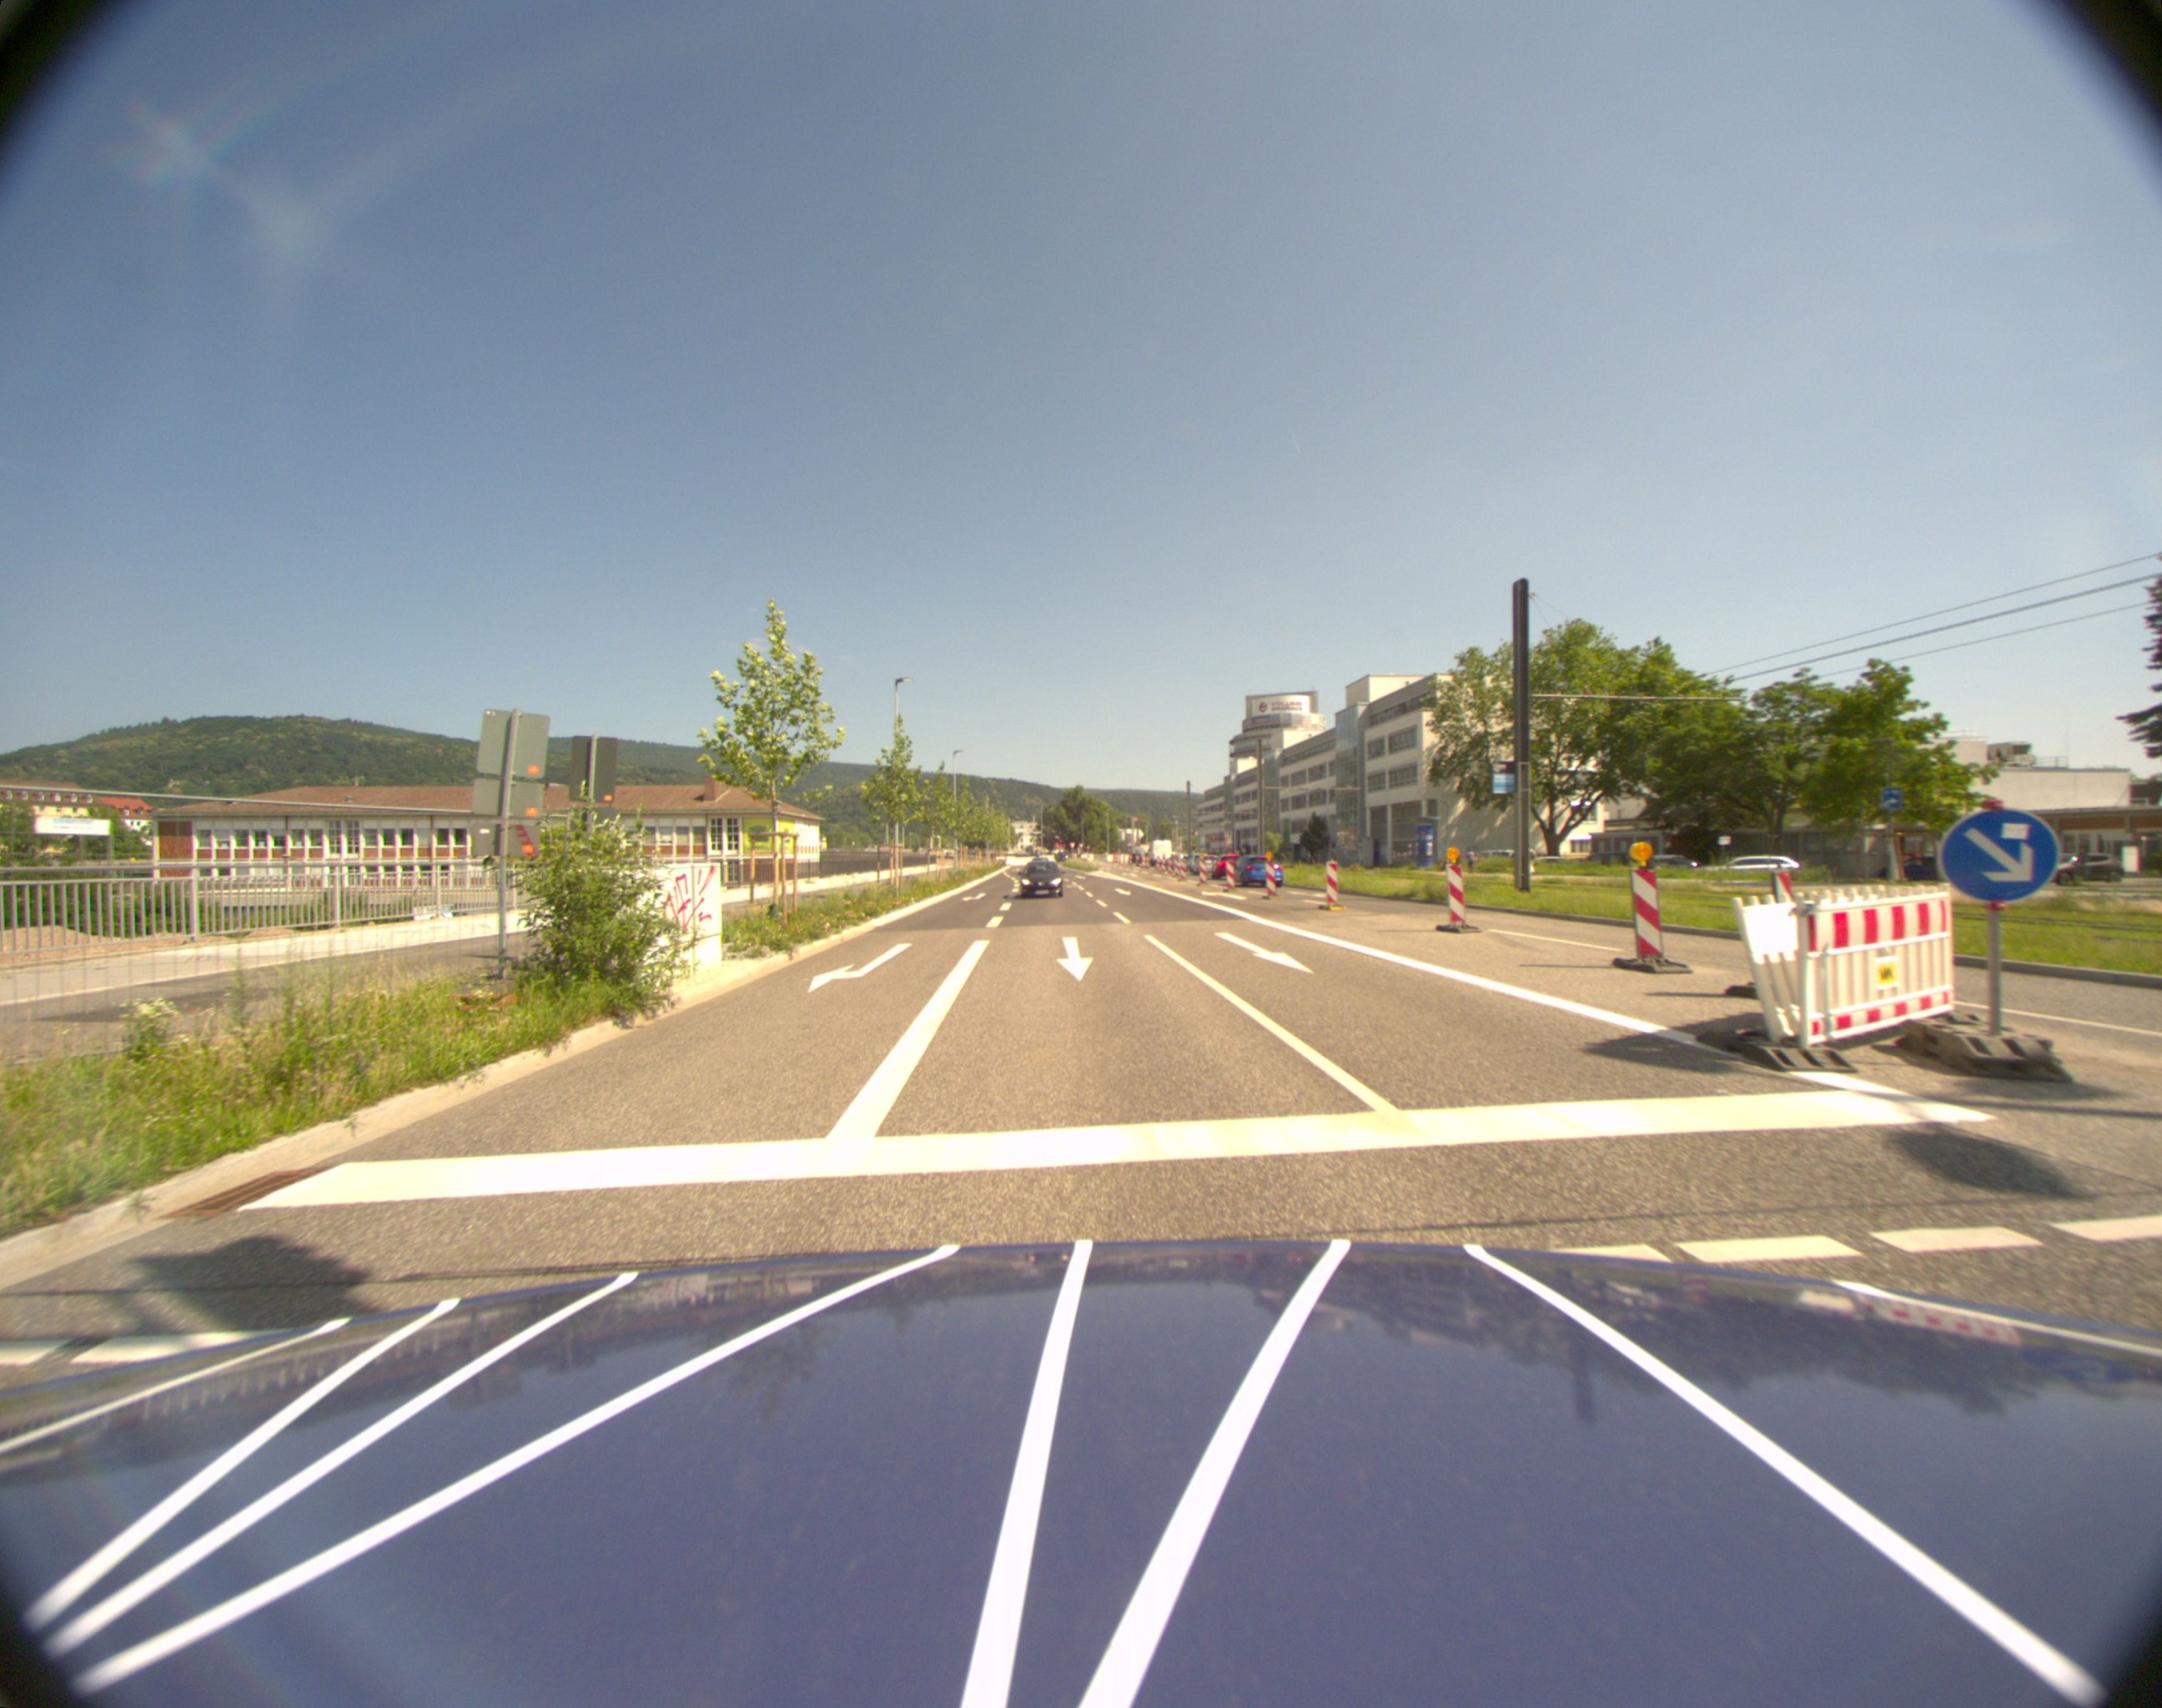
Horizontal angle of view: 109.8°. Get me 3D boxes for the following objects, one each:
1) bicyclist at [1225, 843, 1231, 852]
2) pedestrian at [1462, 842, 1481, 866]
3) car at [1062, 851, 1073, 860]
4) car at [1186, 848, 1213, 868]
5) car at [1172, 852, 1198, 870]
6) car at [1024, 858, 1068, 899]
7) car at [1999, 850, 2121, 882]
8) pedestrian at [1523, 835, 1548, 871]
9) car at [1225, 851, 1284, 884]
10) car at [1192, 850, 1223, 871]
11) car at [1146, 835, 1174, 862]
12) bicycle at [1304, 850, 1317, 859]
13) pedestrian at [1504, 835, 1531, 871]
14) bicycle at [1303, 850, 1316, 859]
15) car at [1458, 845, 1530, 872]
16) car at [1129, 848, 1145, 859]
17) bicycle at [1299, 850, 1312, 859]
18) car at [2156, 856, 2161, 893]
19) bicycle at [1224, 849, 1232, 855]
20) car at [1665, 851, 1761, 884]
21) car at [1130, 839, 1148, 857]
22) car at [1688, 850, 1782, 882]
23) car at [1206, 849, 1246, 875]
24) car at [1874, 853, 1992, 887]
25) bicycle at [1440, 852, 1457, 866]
[{"bbox_3d":[26.234,-1.142,135.443,0.756,1.531,1.076,-1,2,-2],"label":"bicyclist"},{"bbox_3d":[25.579,-0.011,49.761,0.816,1.567,0.826,-1,1,2],"label":"pedestrian"},{"bbox_3d":[-2.223,0.246,124.072,1.619,1.433,3.766,-2,1,-2],"label":"car"},{"bbox_3d":[9.379,0.286,60.372,1.584,1.521,3.620,1,1,1],"label":"car"},{"bbox_3d":[9.159,0.580,67.237,1.678,1.435,4.468,1,1,0],"label":"car"},{"bbox_3d":[-1.439,0.923,30.363,1.619,1.433,3.705,-1,1,-4],"label":"car"},{"bbox_3d":[47.692,0.556,37.126,1.541,1.444,3.344,-3,1,-4],"label":"car"},{"bbox_3d":[26.033,-0.069,43.541,0.841,2.002,0.983,-2,1,0],"label":"pedestrian"},{"bbox_3d":[7.772,0.557,34.488,1.632,1.419,4.289,0,0,-1],"label":"car"},{"bbox_3d":[8.774,0.413,53.054,1.584,1.408,4.296,0,1,2],"label":"car"},{"bbox_3d":[8.421,-0.592,81.116,2.083,2.724,5.984,1,1,-3],"label":"car"},{"bbox_3d":[31.504,0.055,104.318,1.651,1.182,0.438,-2,1,-1],"label":"bicycle"},{"bbox_3d":[25.003,-0.045,43.558,0.985,2.002,0.910,-2,1,0],"label":"pedestrian"},{"bbox_3d":[31.844,0.030,105.768,1.650,1.182,0.438,-2,1,3],"label":"bicycle"},{"bbox_3d":[33.931,0.395,62.567,5.063,2.167,2.117,-1,1,24],"label":"car"},{"bbox_3d":[7.426,-0.097,101.173,1.550,1.449,4.191,1,1,-2],"label":"car"},{"bbox_3d":[31.690,0.028,107.167,1.650,1.182,0.522,-2,1,3],"label":"bicycle"},{"bbox_3d":[43.912,0.746,29.511,3.755,1.449,1.541,-2,0,-20],"label":"car"},{"bbox_3d":[26.249,-0.423,135.436,0.756,1.012,2.830,-1,1,-1],"label":"bicycle"},{"bbox_3d":[33.437,0.690,40.311,1.773,1.581,3.635,-3,1,-8],"label":"car"},{"bbox_3d":[8.665,-0.940,114.559,2.036,2.564,6.192,2,1,-1],"label":"car"},{"bbox_3d":[35.719,0.616,41.623,1.773,1.581,3.635,-3,1,-8],"label":"car"},{"bbox_3d":[8.489,0.449,44.912,1.584,1.408,3.998,0,1,0],"label":"car"},{"bbox_3d":[43.467,0.790,38.870,1.773,1.581,3.635,-3,1,-8],"label":"car"},{"bbox_3d":[27.204,0.370,56.265,0.461,0.980,1.557,-1,1,1],"label":"bicycle"}]
